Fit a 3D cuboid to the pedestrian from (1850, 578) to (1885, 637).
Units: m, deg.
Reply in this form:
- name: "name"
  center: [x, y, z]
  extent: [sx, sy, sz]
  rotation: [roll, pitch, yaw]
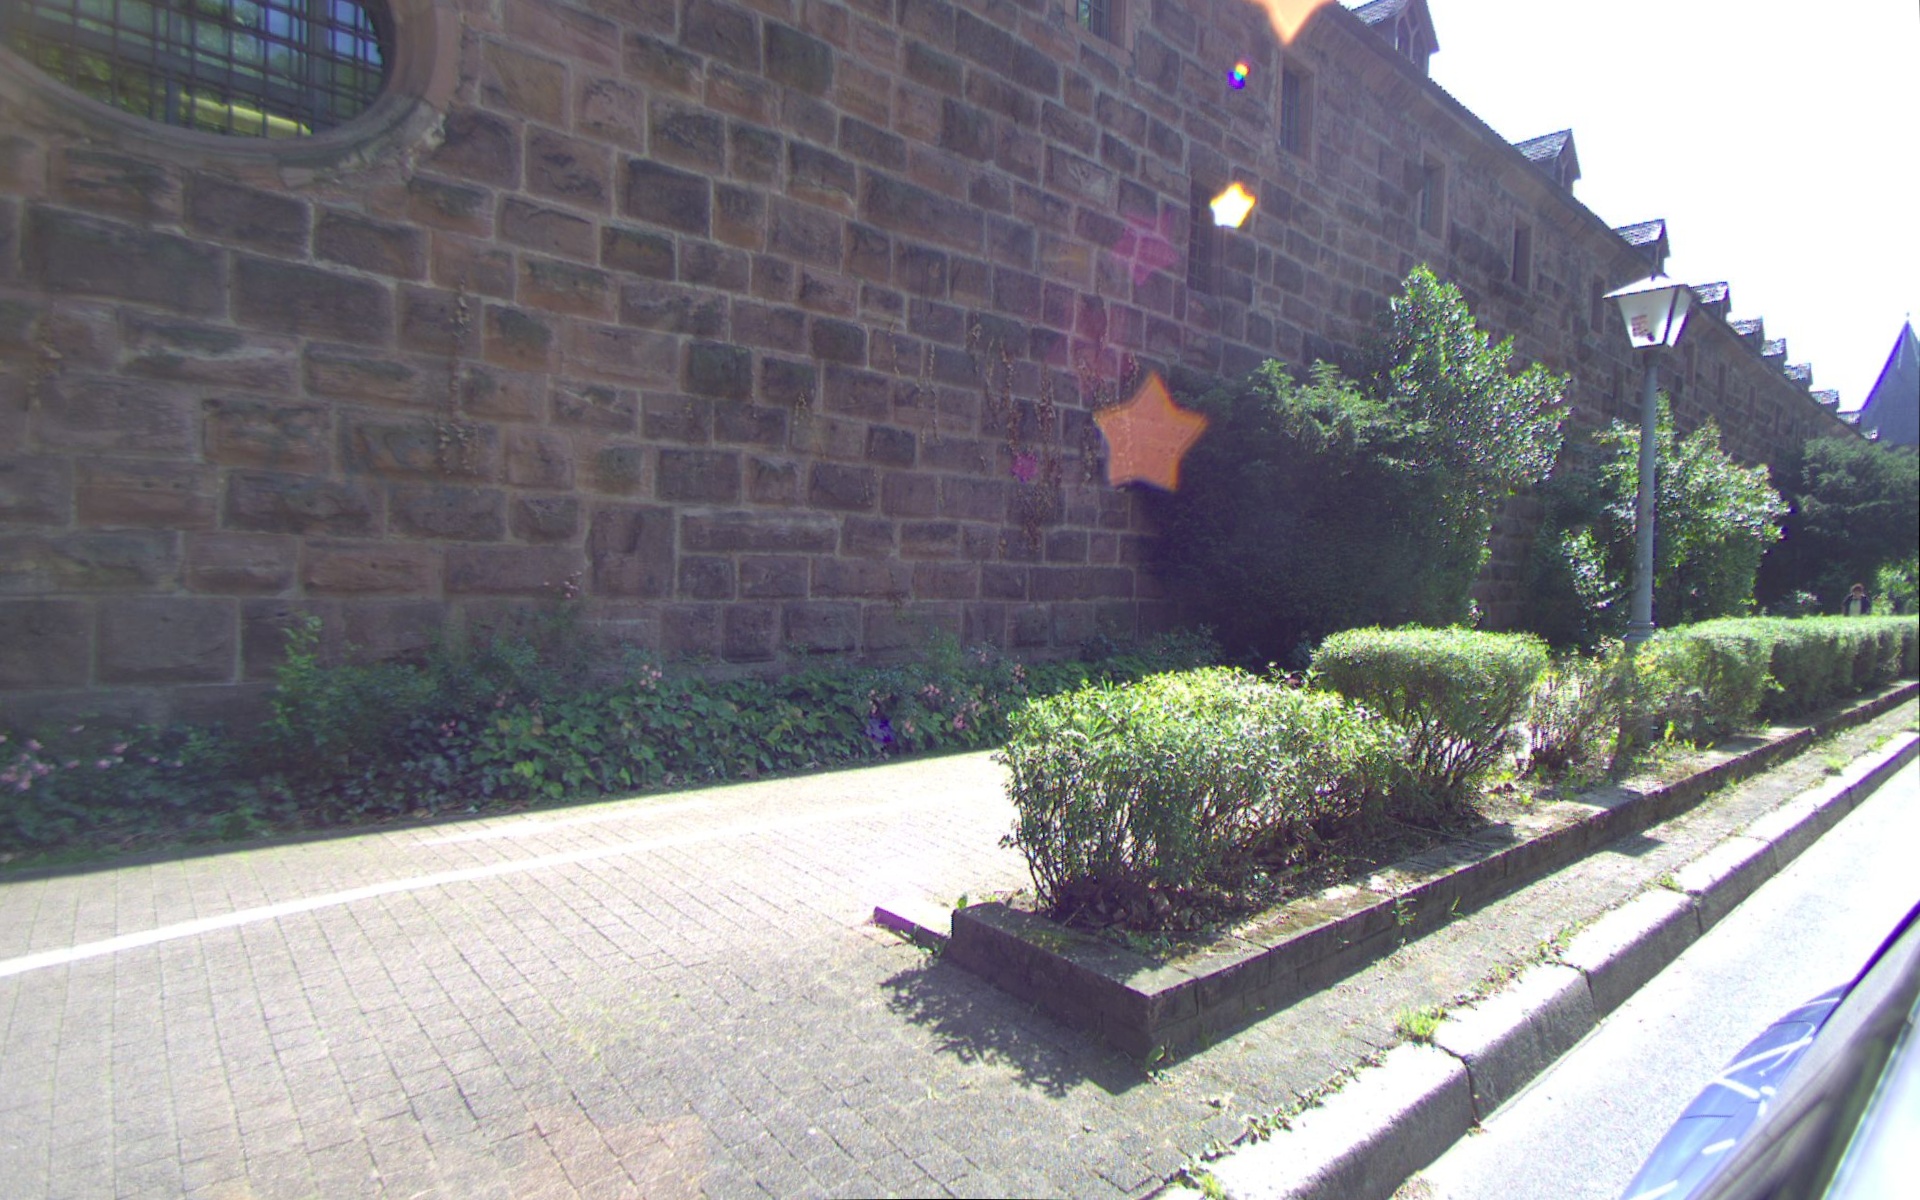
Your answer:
- name: "pedestrian"
  center: [24.791, 0.186, 27.657]
  extent: [0.554, 1.583, 0.642]
  rotation: [0, 0, -41]
